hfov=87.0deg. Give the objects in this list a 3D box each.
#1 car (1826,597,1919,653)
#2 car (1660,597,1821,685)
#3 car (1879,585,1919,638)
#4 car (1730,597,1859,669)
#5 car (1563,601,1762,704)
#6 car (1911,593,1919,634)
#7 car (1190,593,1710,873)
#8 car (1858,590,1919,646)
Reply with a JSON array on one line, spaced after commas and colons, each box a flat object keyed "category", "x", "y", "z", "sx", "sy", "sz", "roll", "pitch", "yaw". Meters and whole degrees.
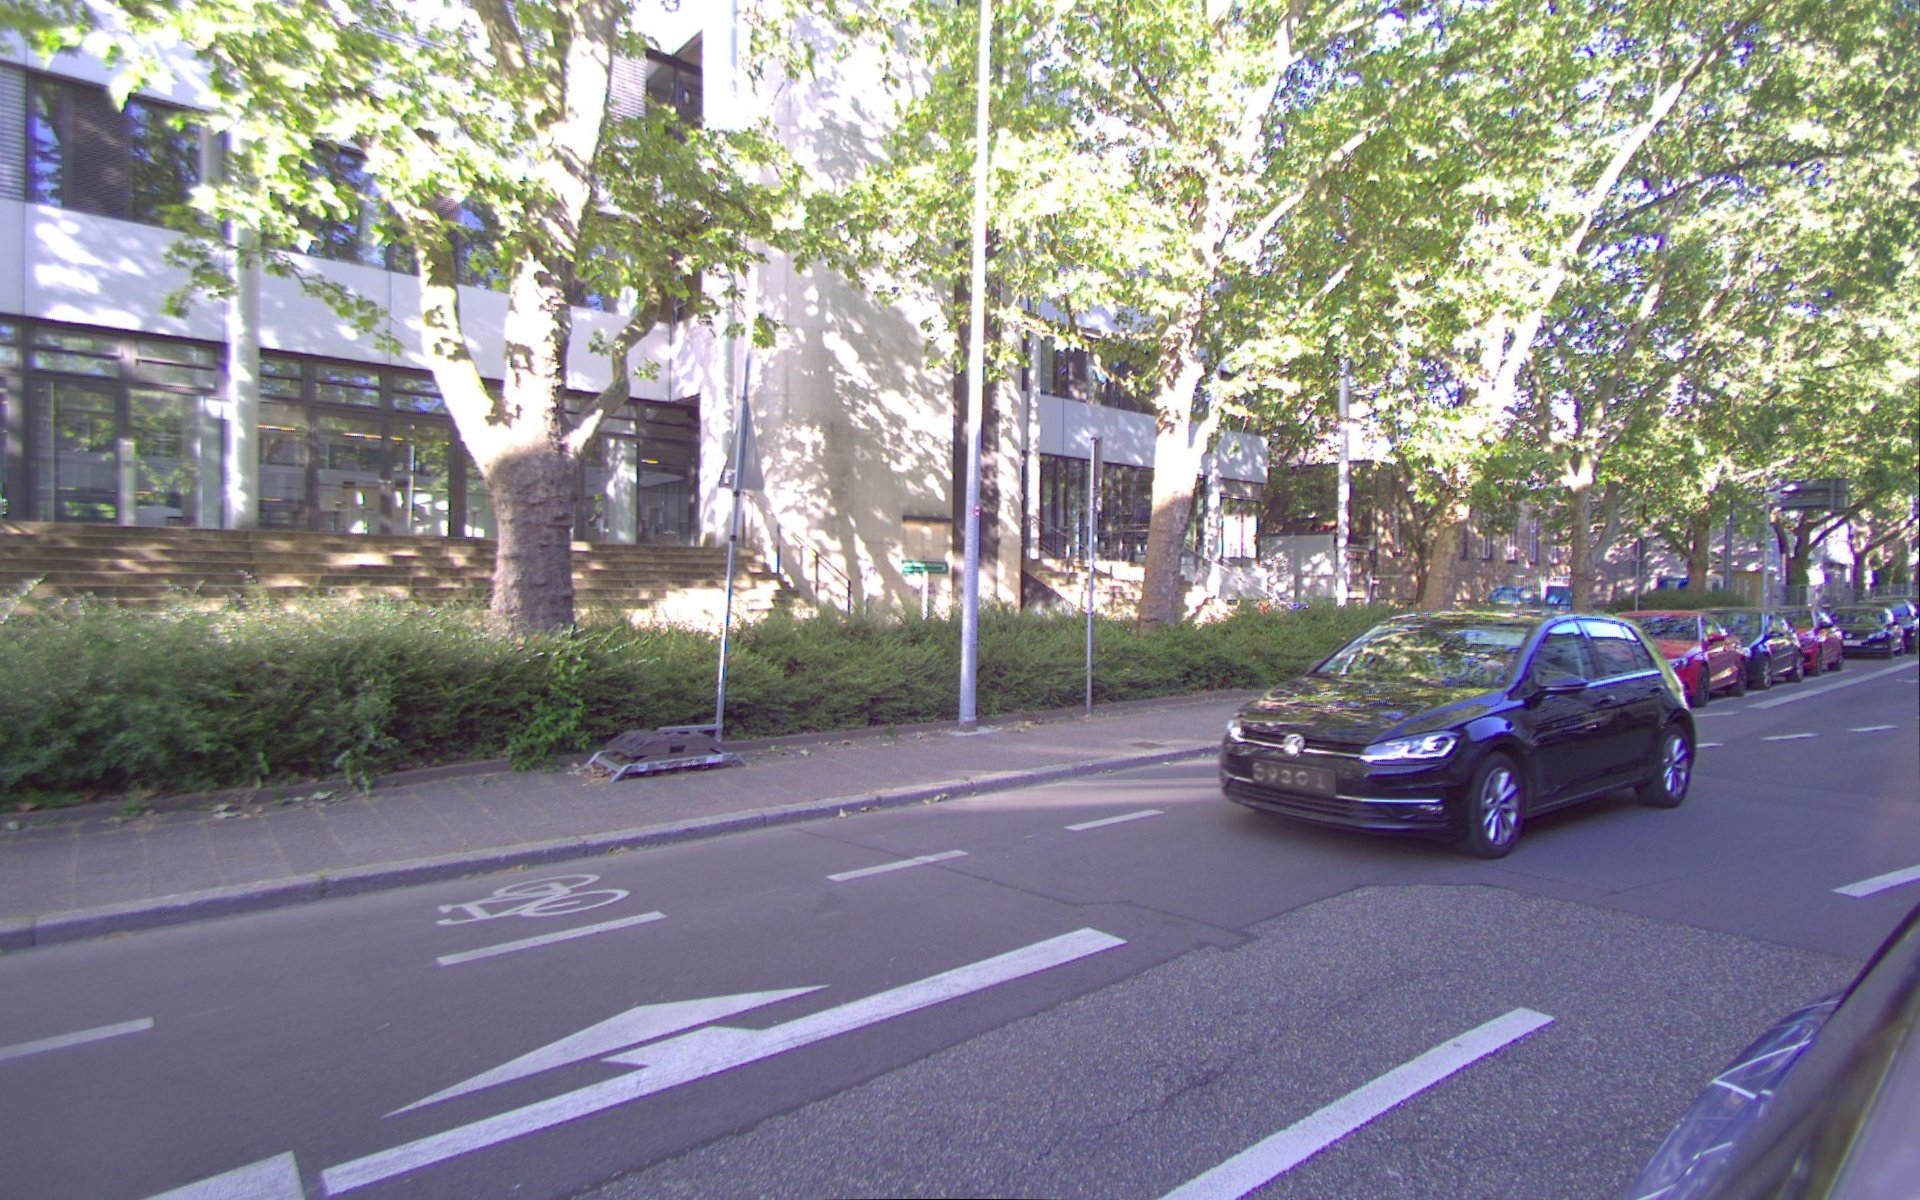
[{"category": "car", "x": 26.018, "y": 0.653, "z": 28.692, "sx": 3.930, "sy": 1.469, "sz": 1.684, "roll": 0, "pitch": 1, "yaw": -41}, {"category": "car", "x": 14.815, "y": 0.703, "z": 19.138, "sx": 3.930, "sy": 1.485, "sz": 1.684, "roll": 0, "pitch": 0, "yaw": -41}, {"category": "car", "x": 33.974, "y": 0.389, "z": 35.701, "sx": 4.354, "sy": 1.790, "sz": 1.818, "roll": 0, "pitch": 1, "yaw": -41}, {"category": "car", "x": 18.616, "y": 0.674, "z": 22.532, "sx": 3.715, "sy": 1.452, "sz": 1.664, "roll": 0, "pitch": 1, "yaw": -41}, {"category": "car", "x": 11.250, "y": 0.753, "z": 16.111, "sx": 3.962, "sy": 1.439, "sz": 1.722, "roll": 0, "pitch": -2, "yaw": -42}, {"category": "car", "x": 38.711, "y": 0.509, "z": 39.718, "sx": 3.801, "sy": 1.581, "sz": 1.684, "roll": 0, "pitch": 1, "yaw": -41}, {"category": "car", "x": 3.559, "y": 0.691, "z": 7.123, "sx": 3.828, "sy": 1.459, "sz": 1.694, "roll": 0, "pitch": 0, "yaw": -36}, {"category": "car", "x": 29.519, "y": 0.522, "z": 31.646, "sx": 3.770, "sy": 1.640, "sz": 1.684, "roll": 0, "pitch": 1, "yaw": -41}]
